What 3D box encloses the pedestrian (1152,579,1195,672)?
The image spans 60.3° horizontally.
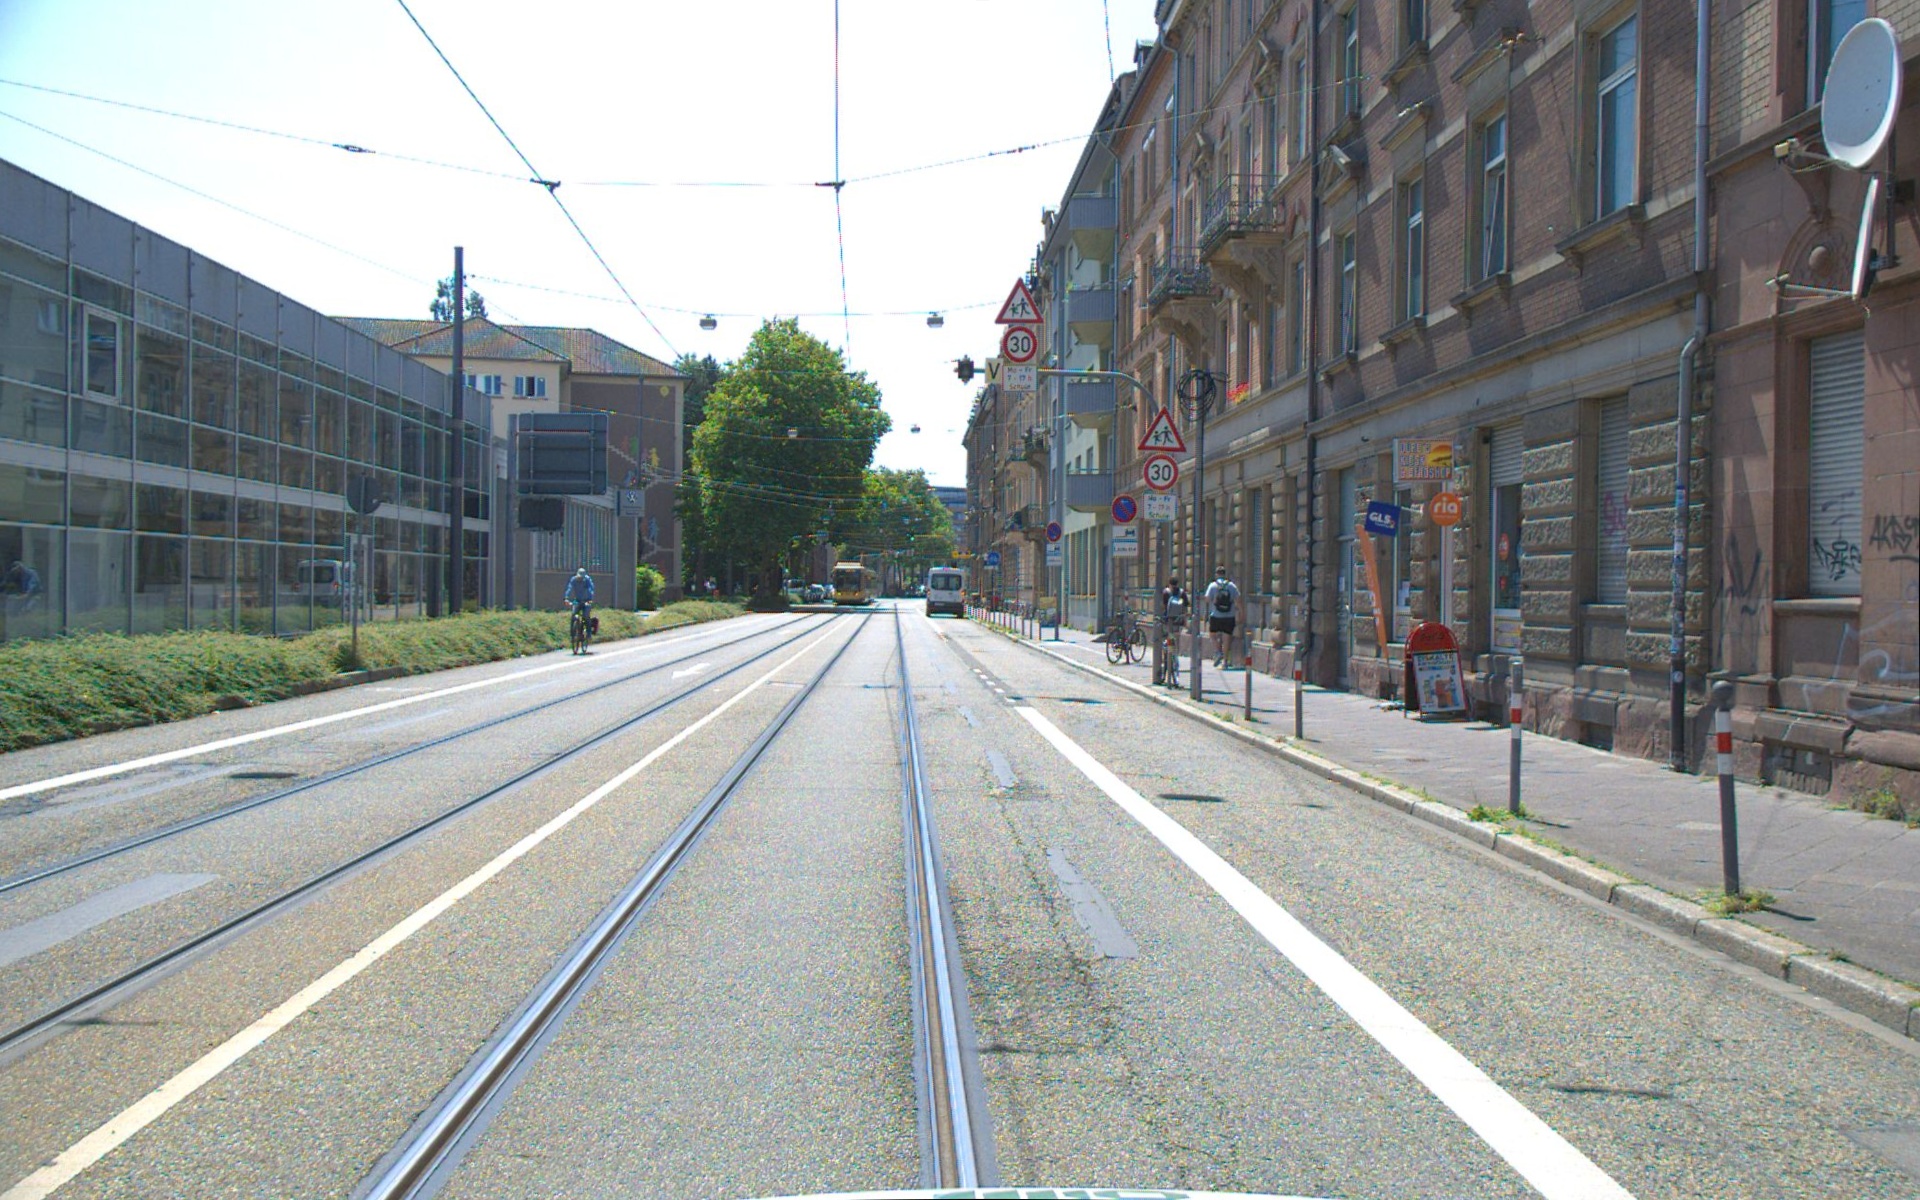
[{"bbox_3d":[4.081,0.478,31.643,0.705,1.750,0.643,0,0,-1],"label":"pedestrian"}]

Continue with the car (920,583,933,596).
[{"bbox_3d":[-5.133,-1.597,250.777,1.641,1.892,3.996,1,0,-5],"label":"car"}]

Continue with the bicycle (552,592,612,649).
[{"bbox_3d":[-8.183,0.421,35.906,0.683,1.164,2.496,0,1,1],"label":"bicycle"}]

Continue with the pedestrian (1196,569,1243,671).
[{"bbox_3d":[4.937,0.369,31.507,0.688,1.881,0.643,-3,0,-1],"label":"pedestrian"}]

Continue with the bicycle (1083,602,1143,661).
[{"bbox_3d":[3.176,0.638,34.235,0.489,1.150,2.241,0,1,26],"label":"bicycle"}]

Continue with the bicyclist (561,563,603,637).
[{"bbox_3d":[-8.189,0.001,35.871,0.683,1.575,0.980,0,0,0],"label":"bicyclist"}]

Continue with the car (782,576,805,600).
[{"bbox_3d":[-13.816,-0.982,137.629,1.765,1.956,3.996,1,0,-5],"label":"car"}]

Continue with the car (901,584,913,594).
[{"bbox_3d":[-7.785,-1.631,242.543,1.498,1.433,3.486,1,0,-5],"label":"car"}]

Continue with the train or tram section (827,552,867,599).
[{"bbox_3d":[-9.131,-1.962,135.121,2.901,3.642,13.416,1,1,-3],"label":"train or tram section"}]

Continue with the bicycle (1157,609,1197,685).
[{"bbox_3d":[3.427,0.722,26.249,0.438,1.116,2.424,0,1,3],"label":"bicycle"}]

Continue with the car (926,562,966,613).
[{"bbox_3d":[-0.792,-0.677,88.161,2.025,2.544,5.453,2,0,-1],"label":"car"}]
